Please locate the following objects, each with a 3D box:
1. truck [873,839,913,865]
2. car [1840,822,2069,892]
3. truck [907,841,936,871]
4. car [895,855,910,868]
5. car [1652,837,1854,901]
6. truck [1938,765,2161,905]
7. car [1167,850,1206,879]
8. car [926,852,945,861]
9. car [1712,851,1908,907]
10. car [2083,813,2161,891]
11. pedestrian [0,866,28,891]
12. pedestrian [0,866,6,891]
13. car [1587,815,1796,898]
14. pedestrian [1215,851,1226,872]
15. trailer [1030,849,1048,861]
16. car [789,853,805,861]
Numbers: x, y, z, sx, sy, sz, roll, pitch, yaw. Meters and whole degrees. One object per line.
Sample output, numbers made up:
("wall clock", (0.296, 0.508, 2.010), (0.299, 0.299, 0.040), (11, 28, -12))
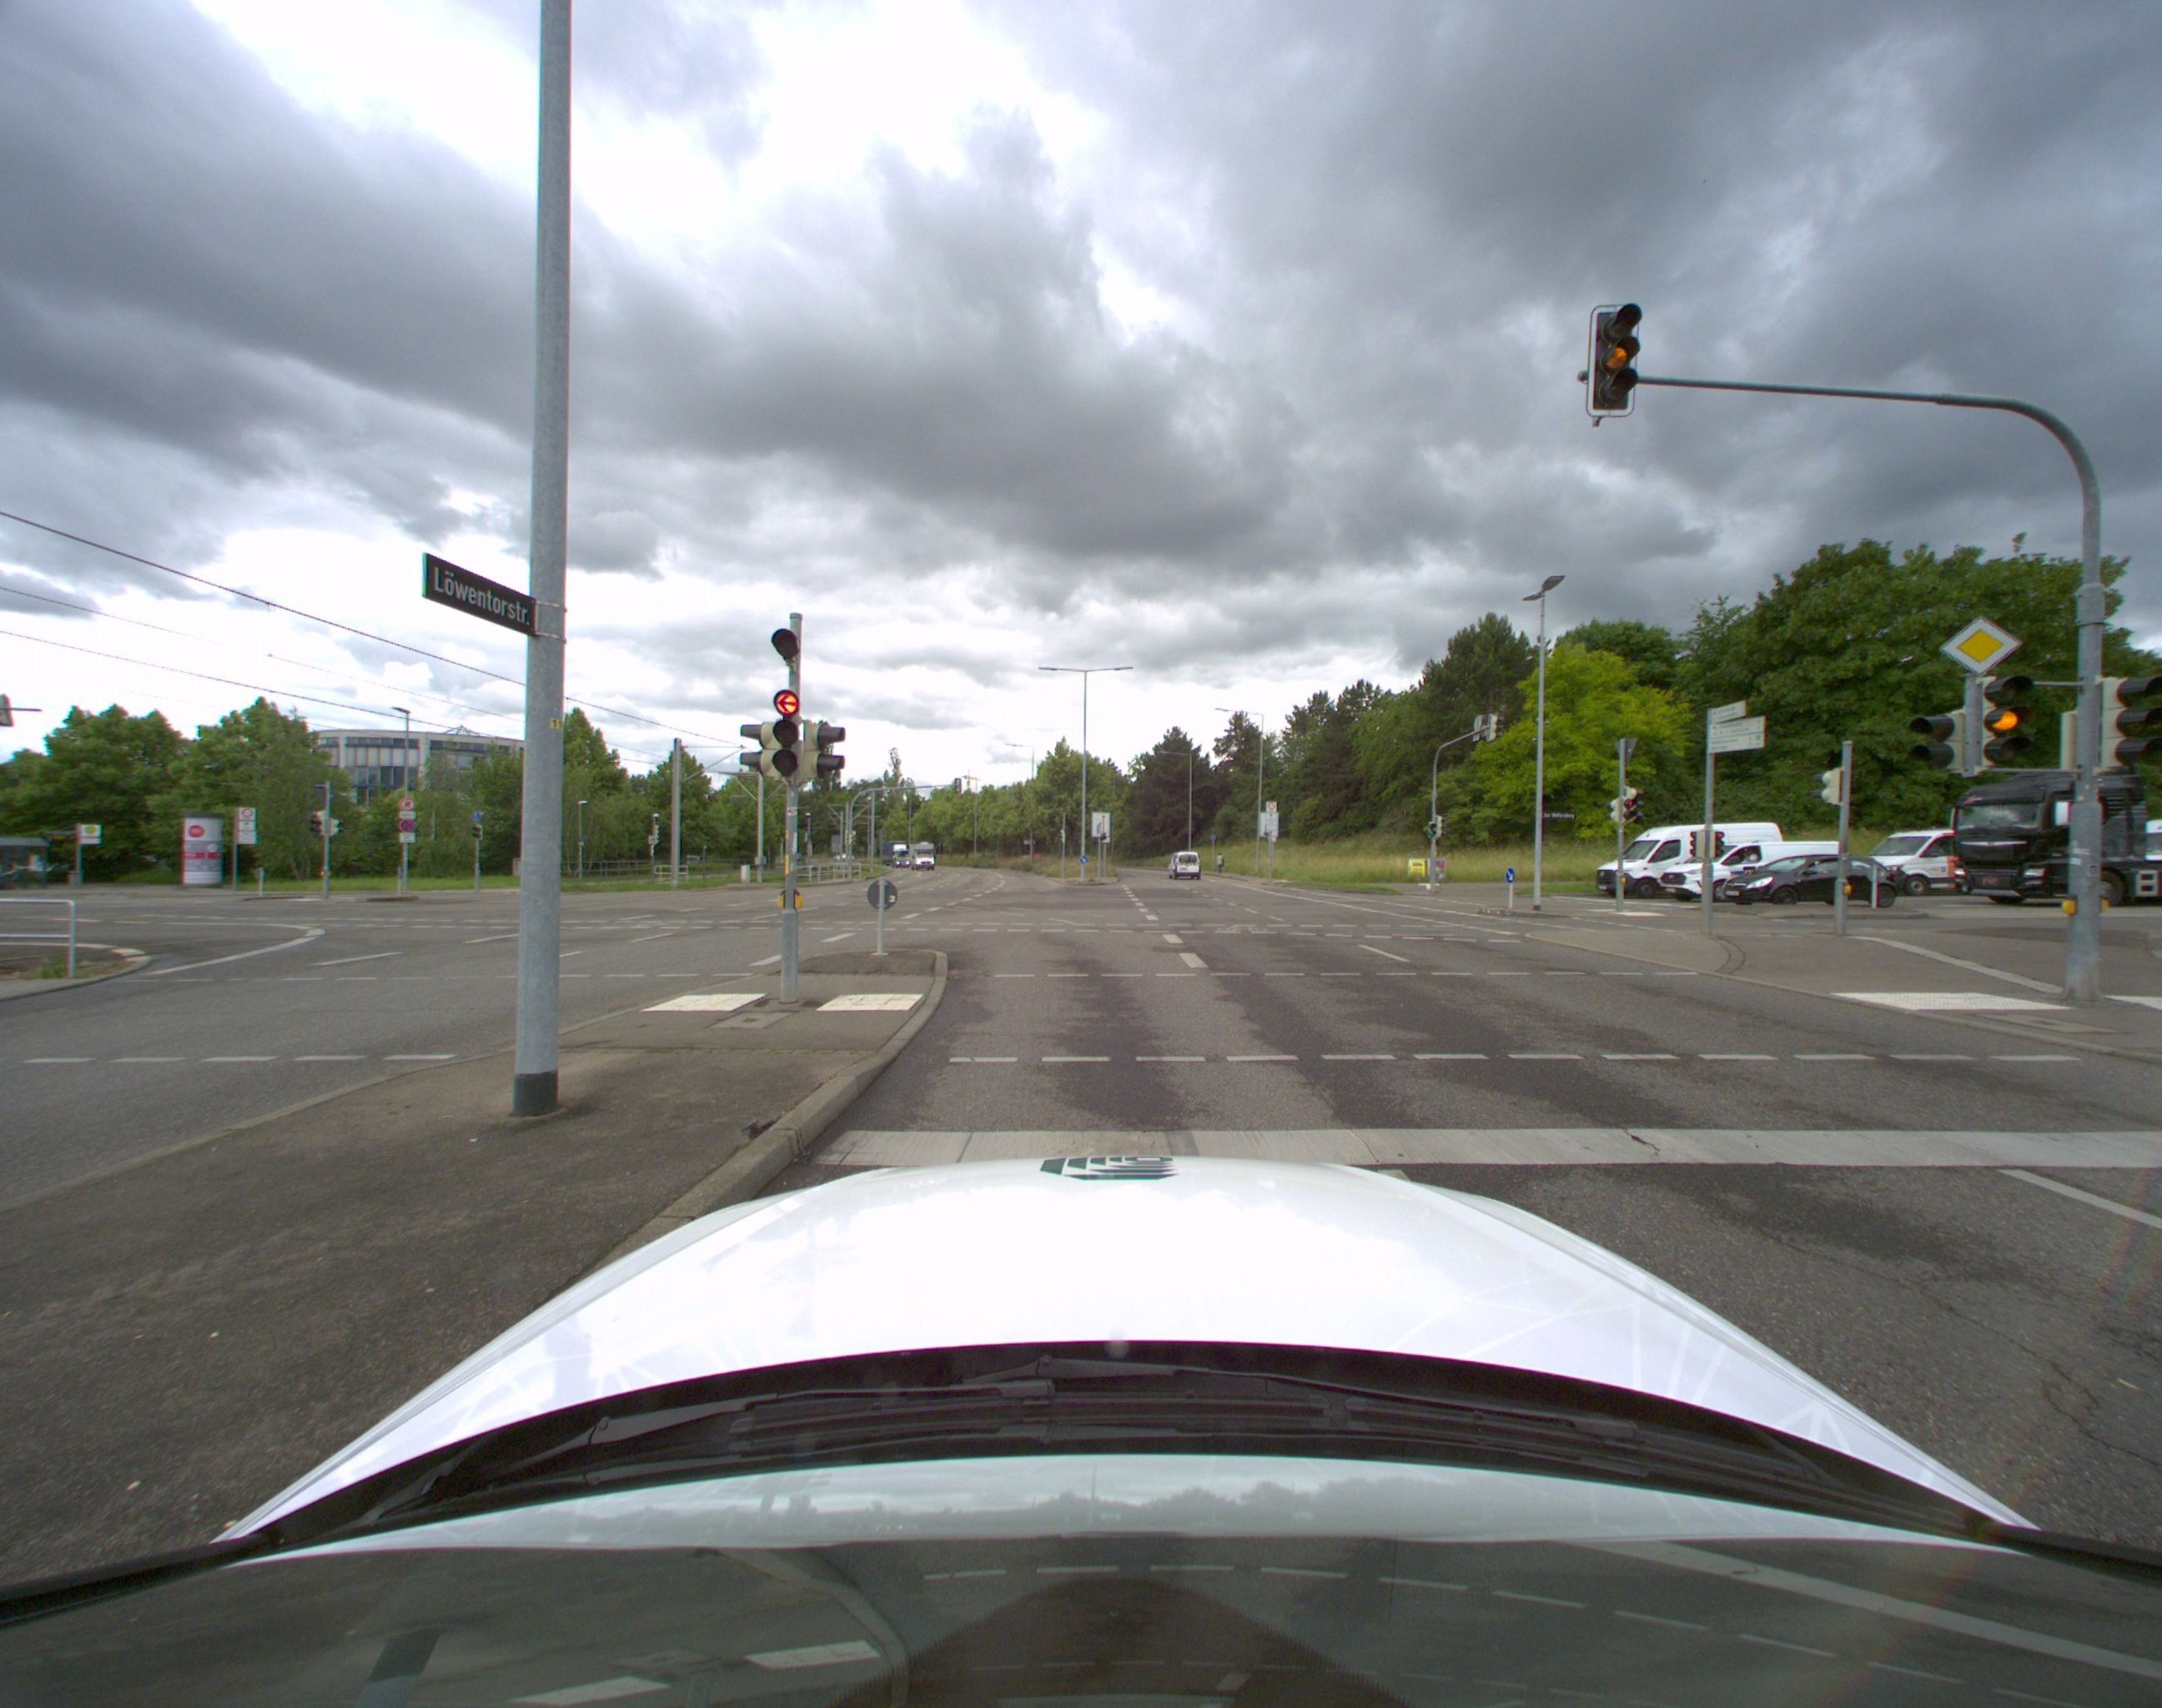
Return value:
("truck", (-29.764, -0.240, 128.485), (3.066, 3.760, 12.696), (0, -1, -28))
("car", (30.685, 0.108, 28.766), (5.677, 2.289, 2.136), (-1, 0, 2))
("truck", (-17.520, 0.213, 89.257), (2.124, 3.135, 5.856), (0, -1, -22))
("car", (-23.876, 1.003, 108.778), (1.783, 1.446, 4.508), (-2, 2, -13))
("car", (21.594, 0.456, 26.331), (4.836, 1.896, 2.034), (-1, 0, 1))
("truck", (27.937, -0.516, 22.272), (6.027, 3.538, 2.729), (-1, 0, 2))
("car", (7.075, 0.695, 54.814), (1.988, 1.802, 4.838), (-1, -1, 0))
("car", (-26.164, 0.435, 146.258), (1.841, 1.618, 3.692), (0, -1, -39))
("car", (20.282, 0.668, 22.775), (3.905, 1.436, 1.732), (-1, 0, 1))
("car", (39.726, -0.131, 28.491), (6.473, 2.609, 2.197), (-1, 0, 2))
("pedestrian", (-56.375, 1.272, 43.012), (0.774, 1.304, 0.666), (0, 0, 15))
("pedestrian", (-57.738, 1.295, 43.177), (0.774, 1.303, 0.666), (0, 0, 15))
("car", (21.900, 0.094, 29.411), (5.870, 2.781, 2.136), (-1, 0, 2))
("pedestrian", (10.996, 0.582, 64.229), (0.811, 1.627, 0.791), (0, 0, 1))
("trailer", (-5.971, 0.160, 116.290), (1.771, 1.616, 3.022), (-1, 0, -21))
("car", (-56.127, 0.508, 160.969), (1.794, 1.446, 4.480), (-3, 2, -35))
